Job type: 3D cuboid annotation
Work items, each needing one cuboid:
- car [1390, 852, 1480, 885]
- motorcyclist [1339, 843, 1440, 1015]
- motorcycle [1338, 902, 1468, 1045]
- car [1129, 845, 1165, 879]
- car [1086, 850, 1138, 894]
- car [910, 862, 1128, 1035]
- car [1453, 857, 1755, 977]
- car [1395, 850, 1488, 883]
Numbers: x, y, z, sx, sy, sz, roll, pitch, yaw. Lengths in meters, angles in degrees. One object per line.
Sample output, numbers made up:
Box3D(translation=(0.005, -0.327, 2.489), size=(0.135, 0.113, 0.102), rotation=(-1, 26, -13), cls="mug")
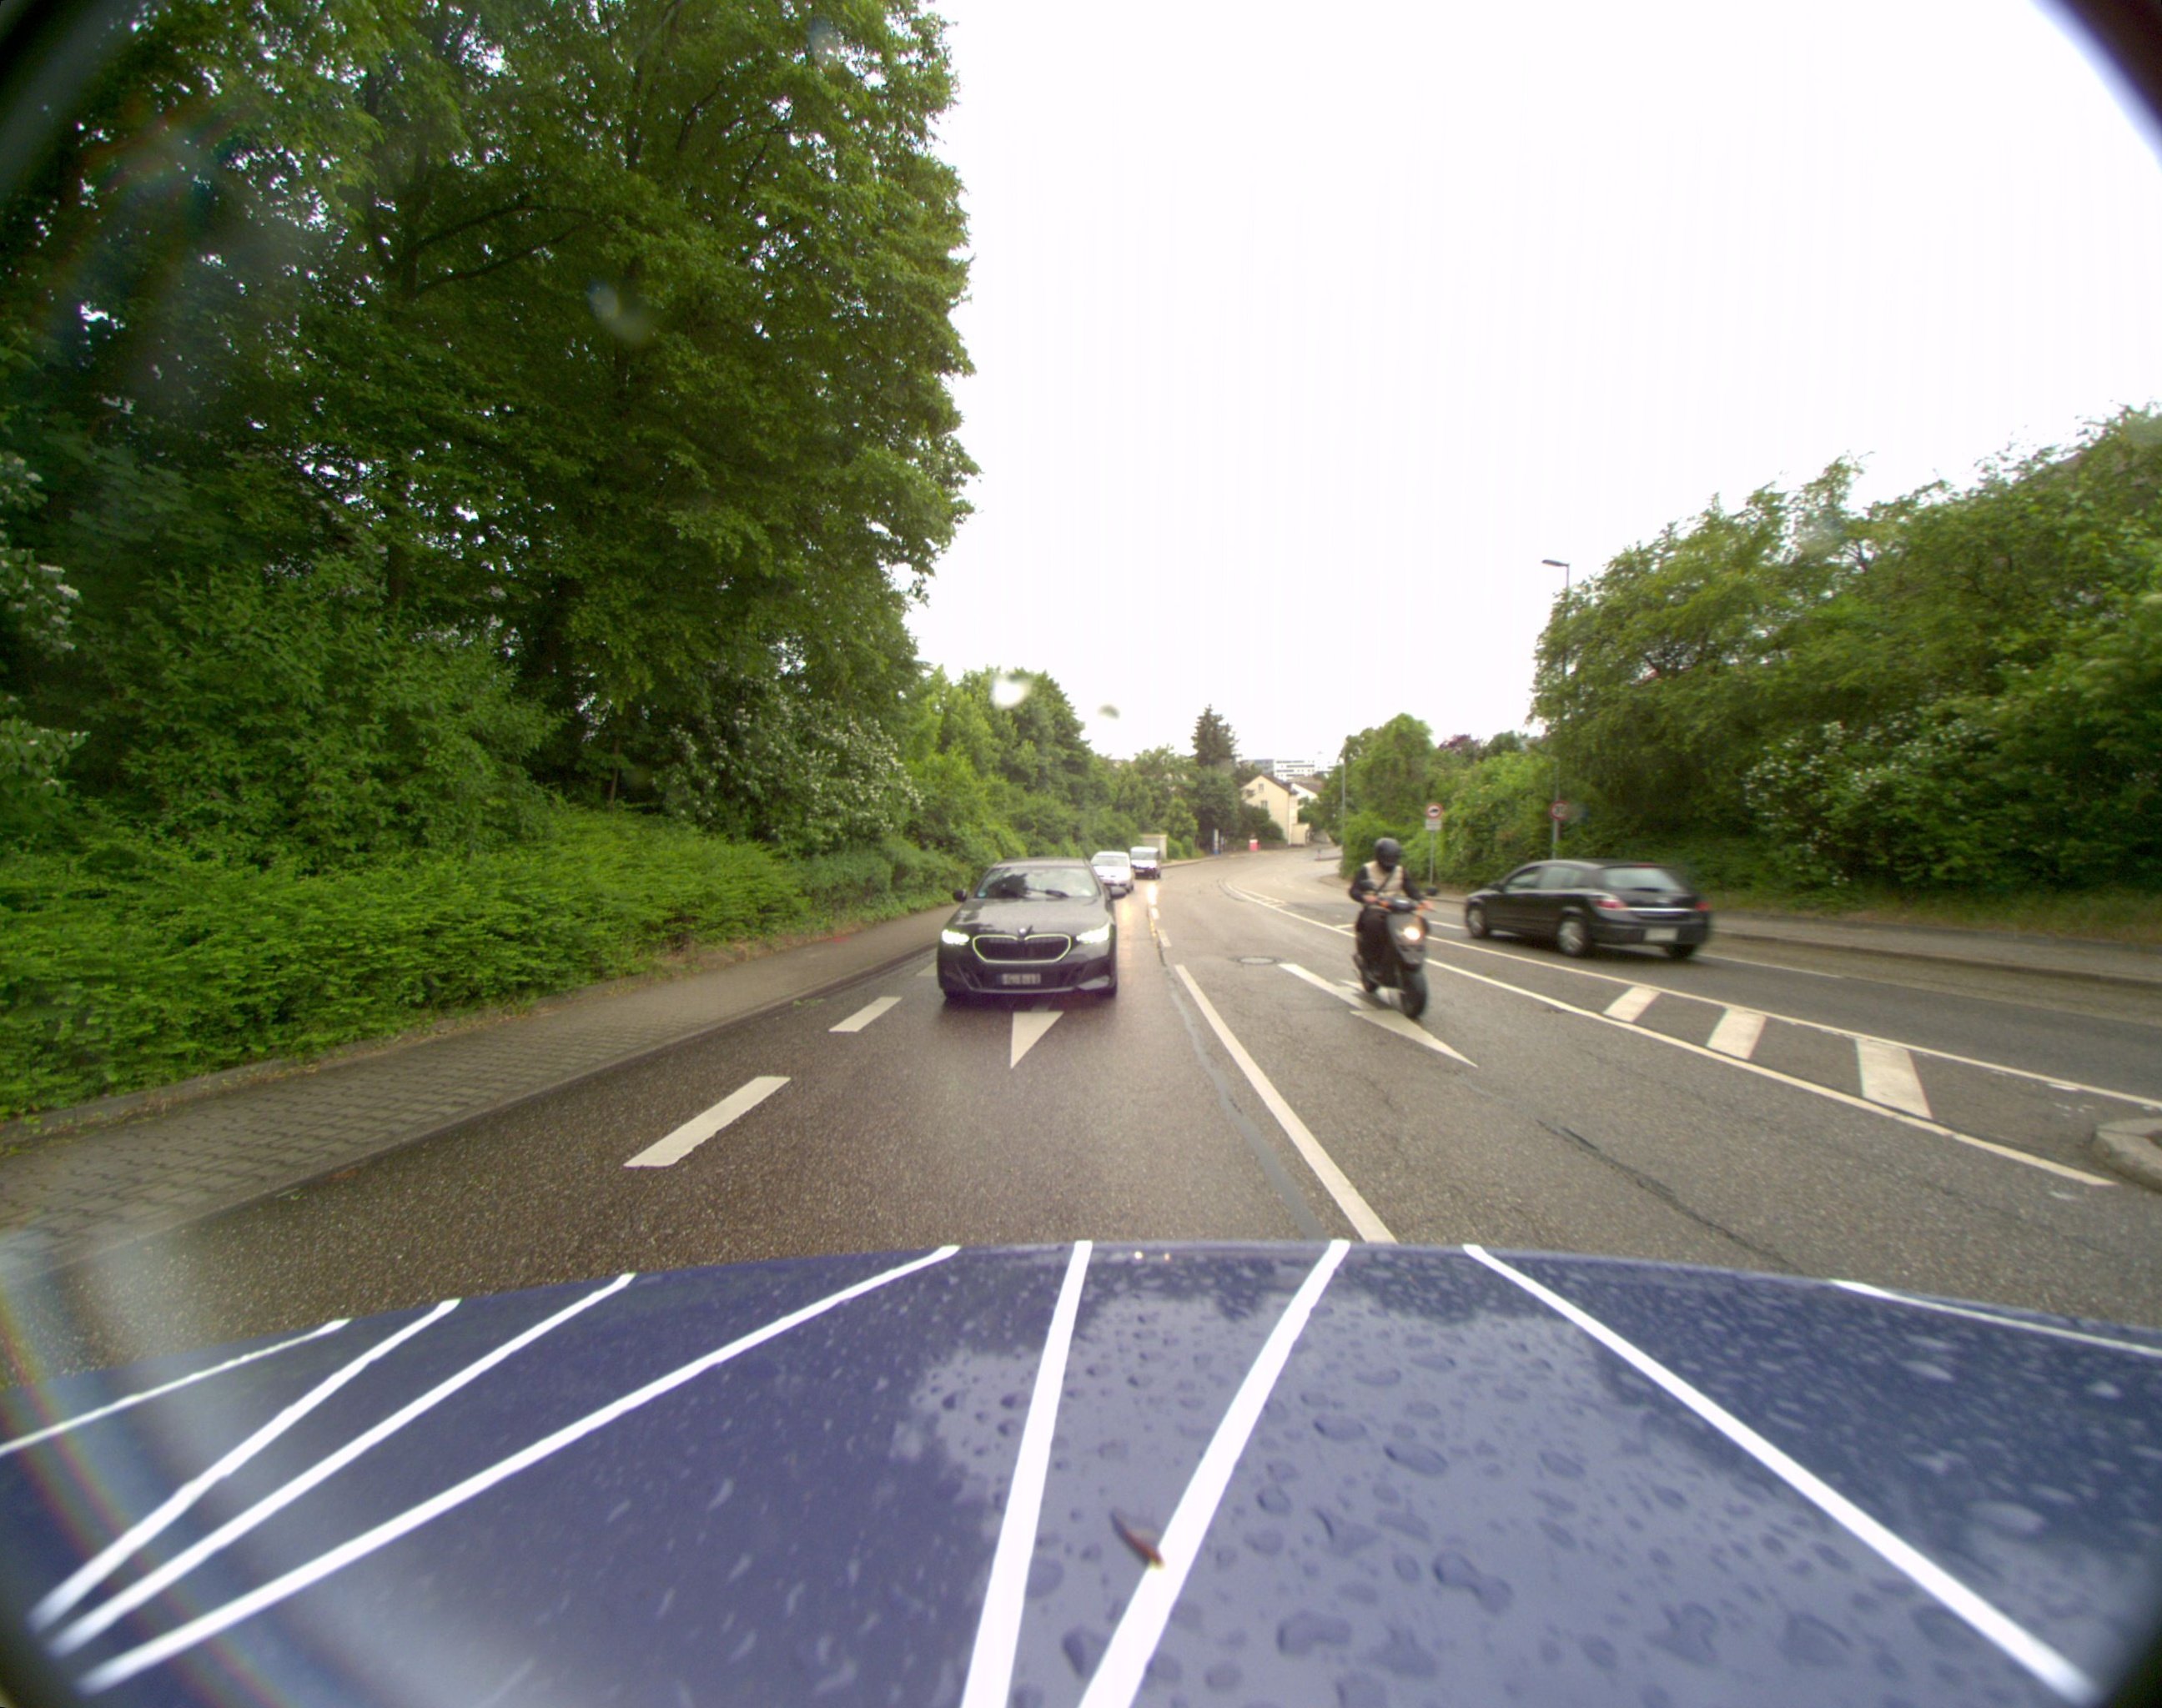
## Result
Box3D(translation=(19.433, 0.764, 41.886), size=(3.995, 1.527, 2.001), rotation=(-4, 0, 8), cls="car")
Box3D(translation=(3.052, 0.714, 7.596), size=(0.766, 1.633, 0.674), rotation=(0, 2, 7), cls="motorcyclist")
Box3D(translation=(3.054, 1.083, 7.397), size=(0.692, 1.047, 1.747), rotation=(1, 2, 7), cls="motorcycle")
Box3D(translation=(3.893, 0.420, 44.195), size=(1.776, 1.765, 4.002), rotation=(3, 2, 8), cls="car")
Box3D(translation=(1.264, 0.643, 29.474), size=(1.817, 1.431, 4.000), rotation=(3, 1, 4), cls="car")
Box3D(translation=(-0.478, 0.910, 9.317), size=(1.871, 1.497, 4.199), rotation=(1, 1, 6), cls="car")
Box3D(translation=(7.779, 0.832, 11.882), size=(1.900, 1.500, 3.999), rotation=(1, 0, -1), cls="car")
Box3D(translation=(18.527, 0.642, 39.174), size=(3.908, 1.432, 1.812), rotation=(-4, 0, 9), cls="car")
